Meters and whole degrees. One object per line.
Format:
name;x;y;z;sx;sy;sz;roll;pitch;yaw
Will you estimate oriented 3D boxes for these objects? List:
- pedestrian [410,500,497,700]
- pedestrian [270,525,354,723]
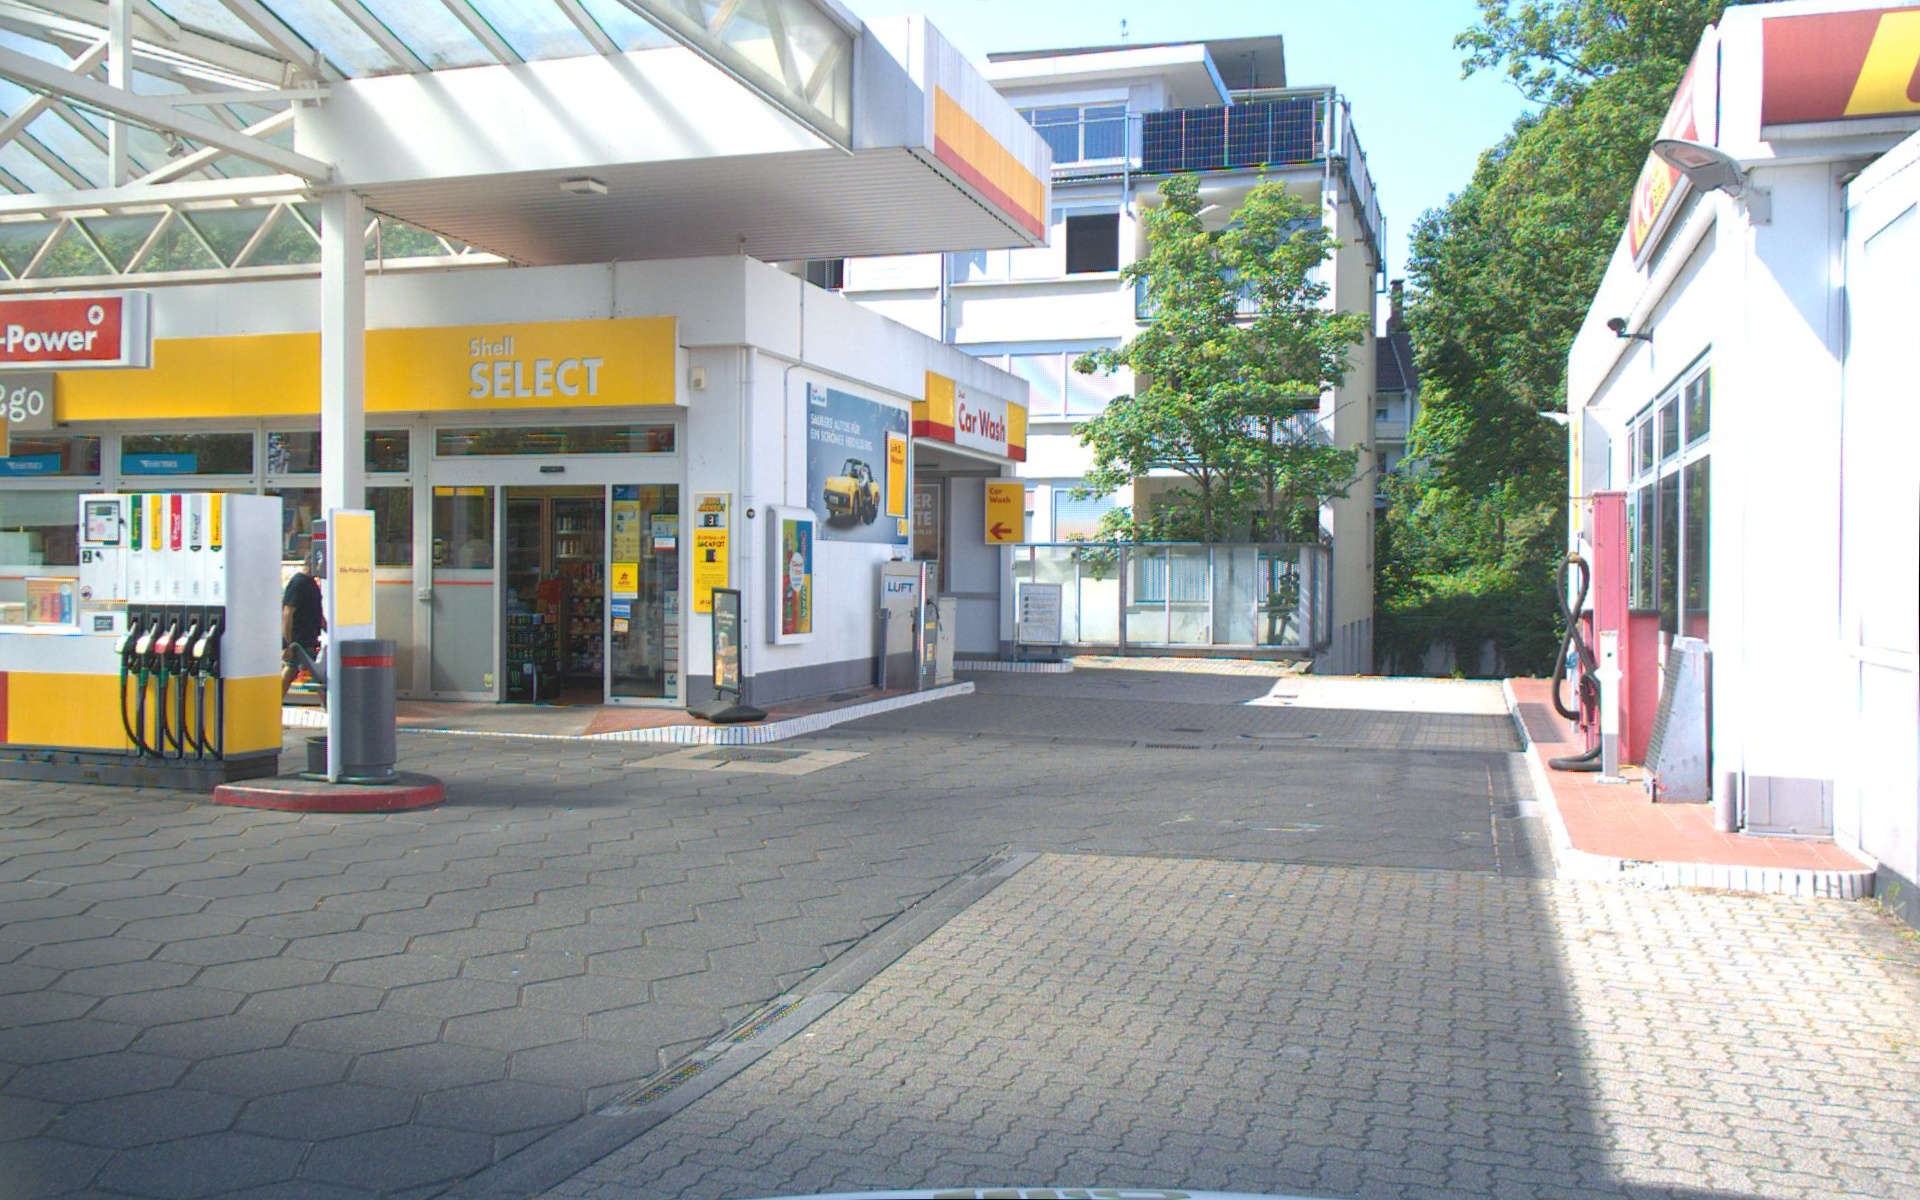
pedestrian;-5.308;-0.011;17.363;0.608;2.049;0.743;0;0;8
pedestrian;-5.957;0.215;15.222;0.560;1.792;0.530;1;0;-3
